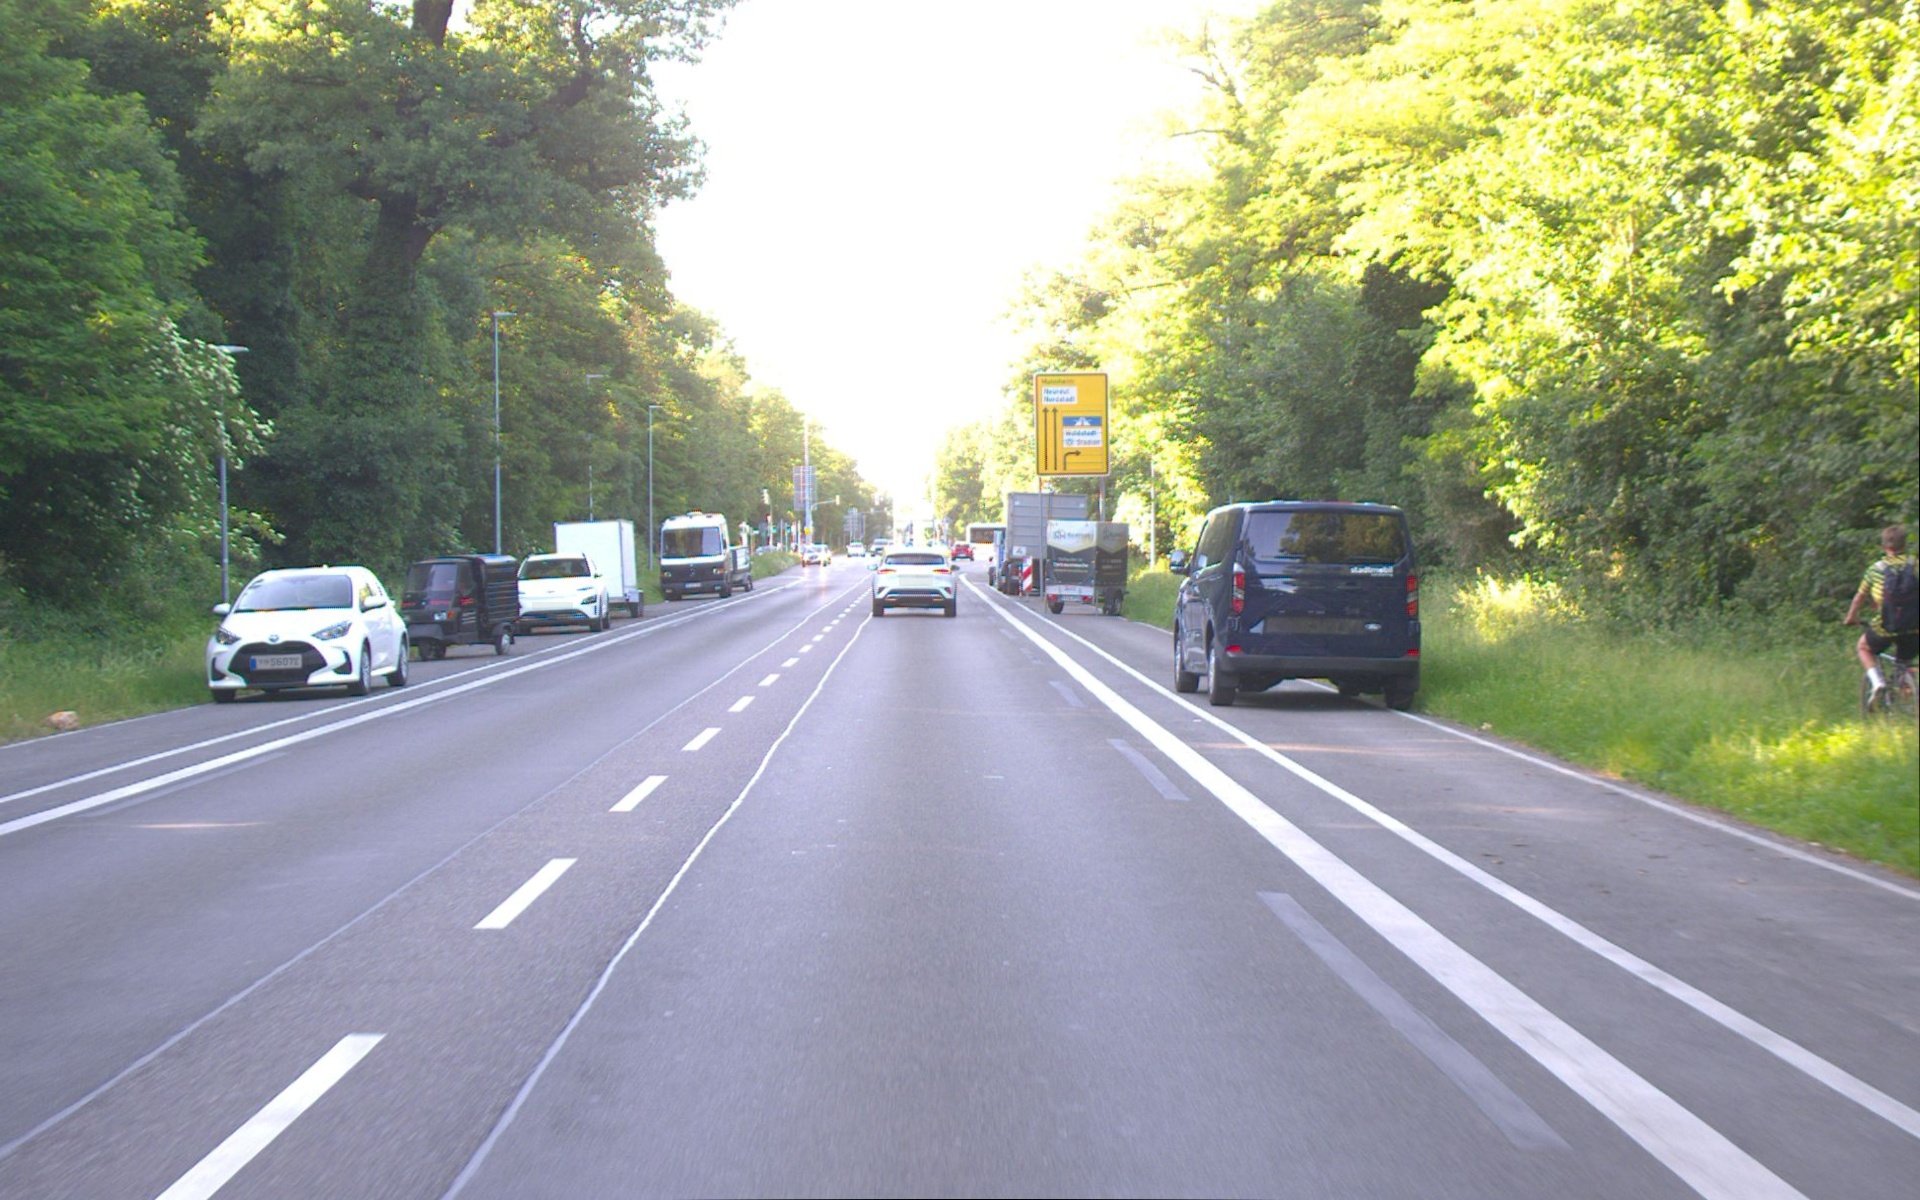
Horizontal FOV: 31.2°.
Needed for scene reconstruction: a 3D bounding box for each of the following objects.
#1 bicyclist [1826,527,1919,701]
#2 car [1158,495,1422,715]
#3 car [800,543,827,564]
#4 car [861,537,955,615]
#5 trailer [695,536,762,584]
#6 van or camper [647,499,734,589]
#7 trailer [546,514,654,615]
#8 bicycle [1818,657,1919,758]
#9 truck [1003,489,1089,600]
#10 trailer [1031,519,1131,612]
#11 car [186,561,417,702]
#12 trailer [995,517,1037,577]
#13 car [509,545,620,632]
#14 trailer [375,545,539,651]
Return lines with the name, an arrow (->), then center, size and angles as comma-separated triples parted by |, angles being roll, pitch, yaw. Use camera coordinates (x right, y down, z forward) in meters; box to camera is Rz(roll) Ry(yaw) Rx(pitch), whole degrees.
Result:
bicyclist -> 7.176, 0.096, 26.661 | 0.610, 1.320, 1.175 | 0, 1, 0
car -> 3.244, 0.007, 34.842 | 2.113, 2.007, 5.040 | 2, 1, 0
car -> -10.067, -3.239, 236.946 | 1.678, 1.411, 4.000 | -1, 1, 0
car -> -1.125, -0.550, 75.019 | 1.993, 1.634, 4.000 | -1, 1, -1
trailer -> -8.418, -1.457, 125.208 | 1.471, 1.654, 3.364 | -2, 0, 12
van or camper -> -8.716, -1.824, 111.649 | 2.302, 2.758, 5.557 | -3, 1, 0
trailer -> -8.471, -0.841, 81.129 | 2.075, 2.285, 3.486 | -1, 1, 1
bicycle -> 7.204, 0.818, 26.643 | 0.591, 0.690, 1.997 | 0, 1, 0
truck -> 2.670, -1.744, 108.905 | 2.505, 3.355, 7.107 | 1, 1, 0
trailer -> 2.782, -0.796, 78.986 | 1.616, 2.105, 2.394 | 1, 1, 20
car -> -7.586, 0.322, 39.974 | 1.867, 1.445, 4.071 | -3, 1, -1
trailer -> 2.135, -2.049, 132.465 | 1.500, 2.228, 4.550 | 1, 1, 0
car -> -7.742, -0.251, 67.567 | 1.814, 1.566, 4.207 | -3, 1, -3
trailer -> -7.707, -0.051, 52.871 | 1.397, 1.568, 2.672 | 0, 1, 20
